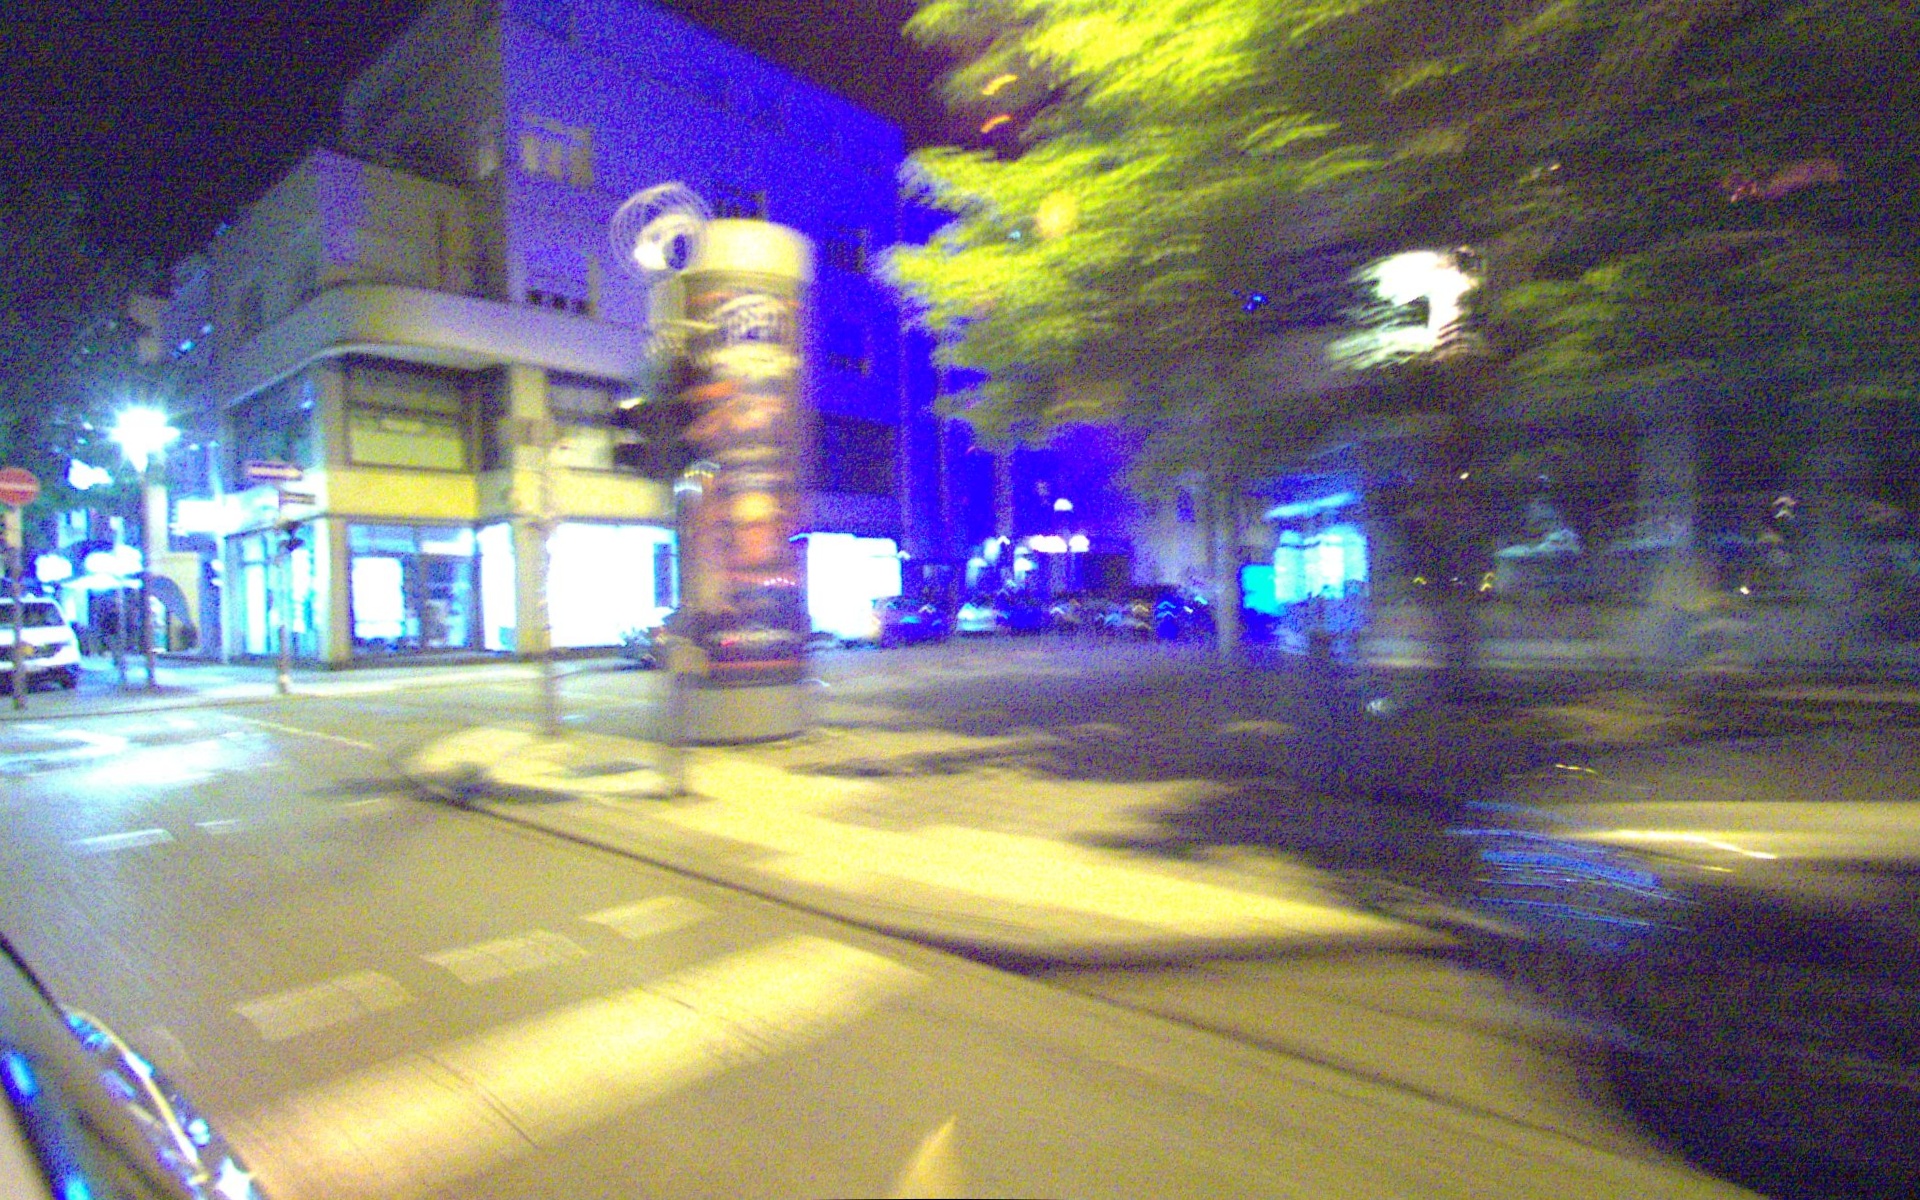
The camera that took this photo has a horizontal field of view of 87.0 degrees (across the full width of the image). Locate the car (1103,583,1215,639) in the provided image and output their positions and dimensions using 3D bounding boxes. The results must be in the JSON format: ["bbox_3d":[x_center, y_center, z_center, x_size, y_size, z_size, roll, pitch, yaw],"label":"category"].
[{"bbox_3d":[5.395,0.278,27.232,1.658,1.395,3.059,-1,0,40],"label":"car"}]

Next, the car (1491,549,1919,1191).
[{"bbox_3d":[3.939,0.548,1.883,4.919,1.435,1.788,-2,2,42],"label":"car"}]

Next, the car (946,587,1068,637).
[{"bbox_3d":[1.521,0.340,31.522,1.802,1.406,3.858,-2,0,40],"label":"car"}]

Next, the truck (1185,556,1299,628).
[{"bbox_3d":[8.699,-0.240,31.025,1.857,2.038,3.988,-1,0,40],"label":"truck"}]

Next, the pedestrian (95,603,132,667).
[{"bbox_3d":[-24.403,1.001,29.169,0.716,1.820,0.710,-2,-1,42],"label":"pedestrian"}]

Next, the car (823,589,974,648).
[{"bbox_3d":[-1.609,0.474,27.818,1.802,1.447,4.093,-2,0,40],"label":"car"}]

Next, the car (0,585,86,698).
[{"bbox_3d":[-20.186,0.856,21.096,5.080,2.102,1.836,-2,2,36],"label":"car"}]

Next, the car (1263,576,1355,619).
[{"bbox_3d":[12.246,-0.099,35.402,1.725,1.429,3.858,-1,0,40],"label":"car"}]

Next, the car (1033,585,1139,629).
[{"bbox_3d":[4.415,0.216,35.014,1.802,1.406,3.858,-2,0,40],"label":"car"}]

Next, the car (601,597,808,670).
[{"bbox_3d":[-5.678,0.693,22.914,1.802,1.408,4.284,-2,0,40],"label":"car"}]
